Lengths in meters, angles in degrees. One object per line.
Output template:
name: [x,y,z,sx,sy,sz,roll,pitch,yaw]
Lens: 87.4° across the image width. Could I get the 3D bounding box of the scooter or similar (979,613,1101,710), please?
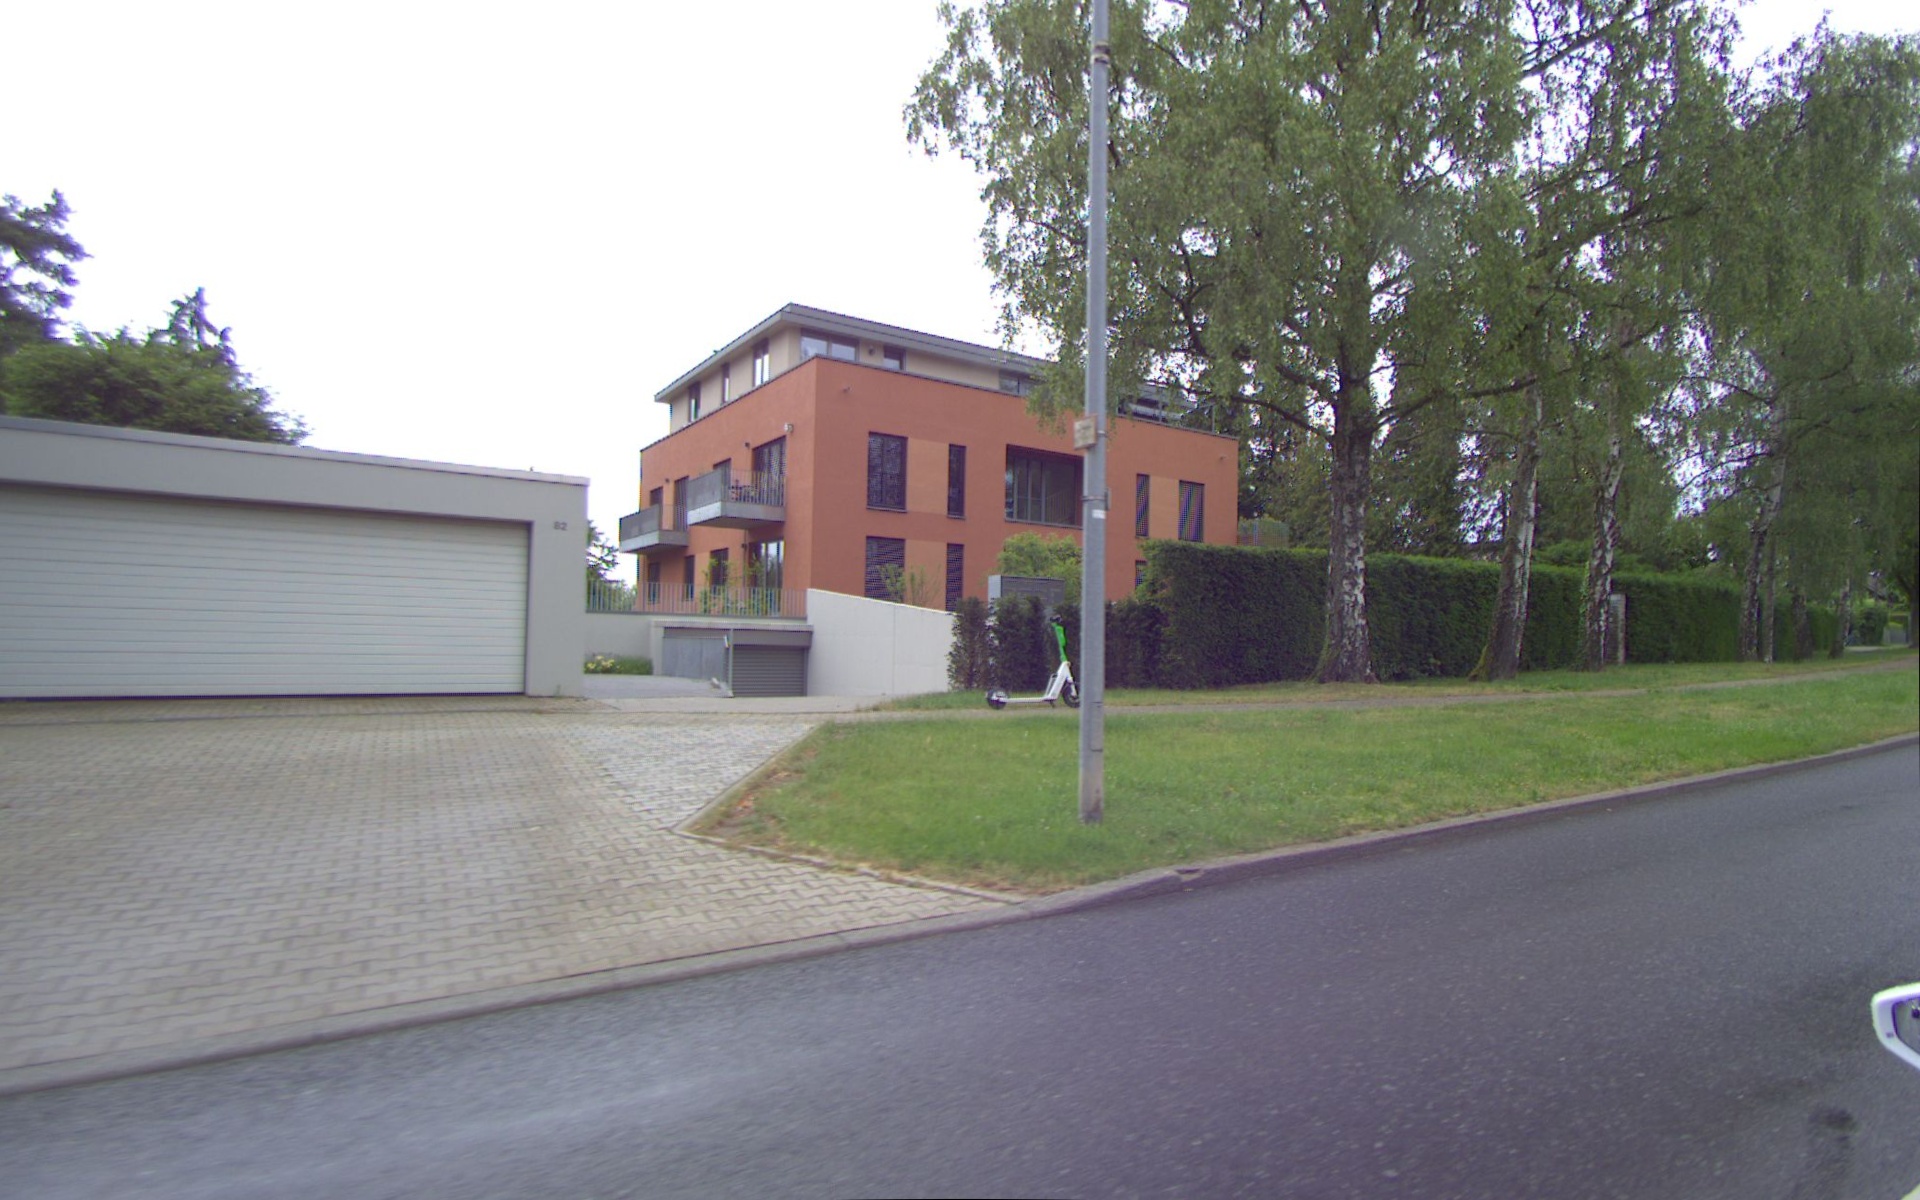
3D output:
scooter or similar: [0.996,0.756,12.575,1.463,1.174,0.425,0,1,-9]
